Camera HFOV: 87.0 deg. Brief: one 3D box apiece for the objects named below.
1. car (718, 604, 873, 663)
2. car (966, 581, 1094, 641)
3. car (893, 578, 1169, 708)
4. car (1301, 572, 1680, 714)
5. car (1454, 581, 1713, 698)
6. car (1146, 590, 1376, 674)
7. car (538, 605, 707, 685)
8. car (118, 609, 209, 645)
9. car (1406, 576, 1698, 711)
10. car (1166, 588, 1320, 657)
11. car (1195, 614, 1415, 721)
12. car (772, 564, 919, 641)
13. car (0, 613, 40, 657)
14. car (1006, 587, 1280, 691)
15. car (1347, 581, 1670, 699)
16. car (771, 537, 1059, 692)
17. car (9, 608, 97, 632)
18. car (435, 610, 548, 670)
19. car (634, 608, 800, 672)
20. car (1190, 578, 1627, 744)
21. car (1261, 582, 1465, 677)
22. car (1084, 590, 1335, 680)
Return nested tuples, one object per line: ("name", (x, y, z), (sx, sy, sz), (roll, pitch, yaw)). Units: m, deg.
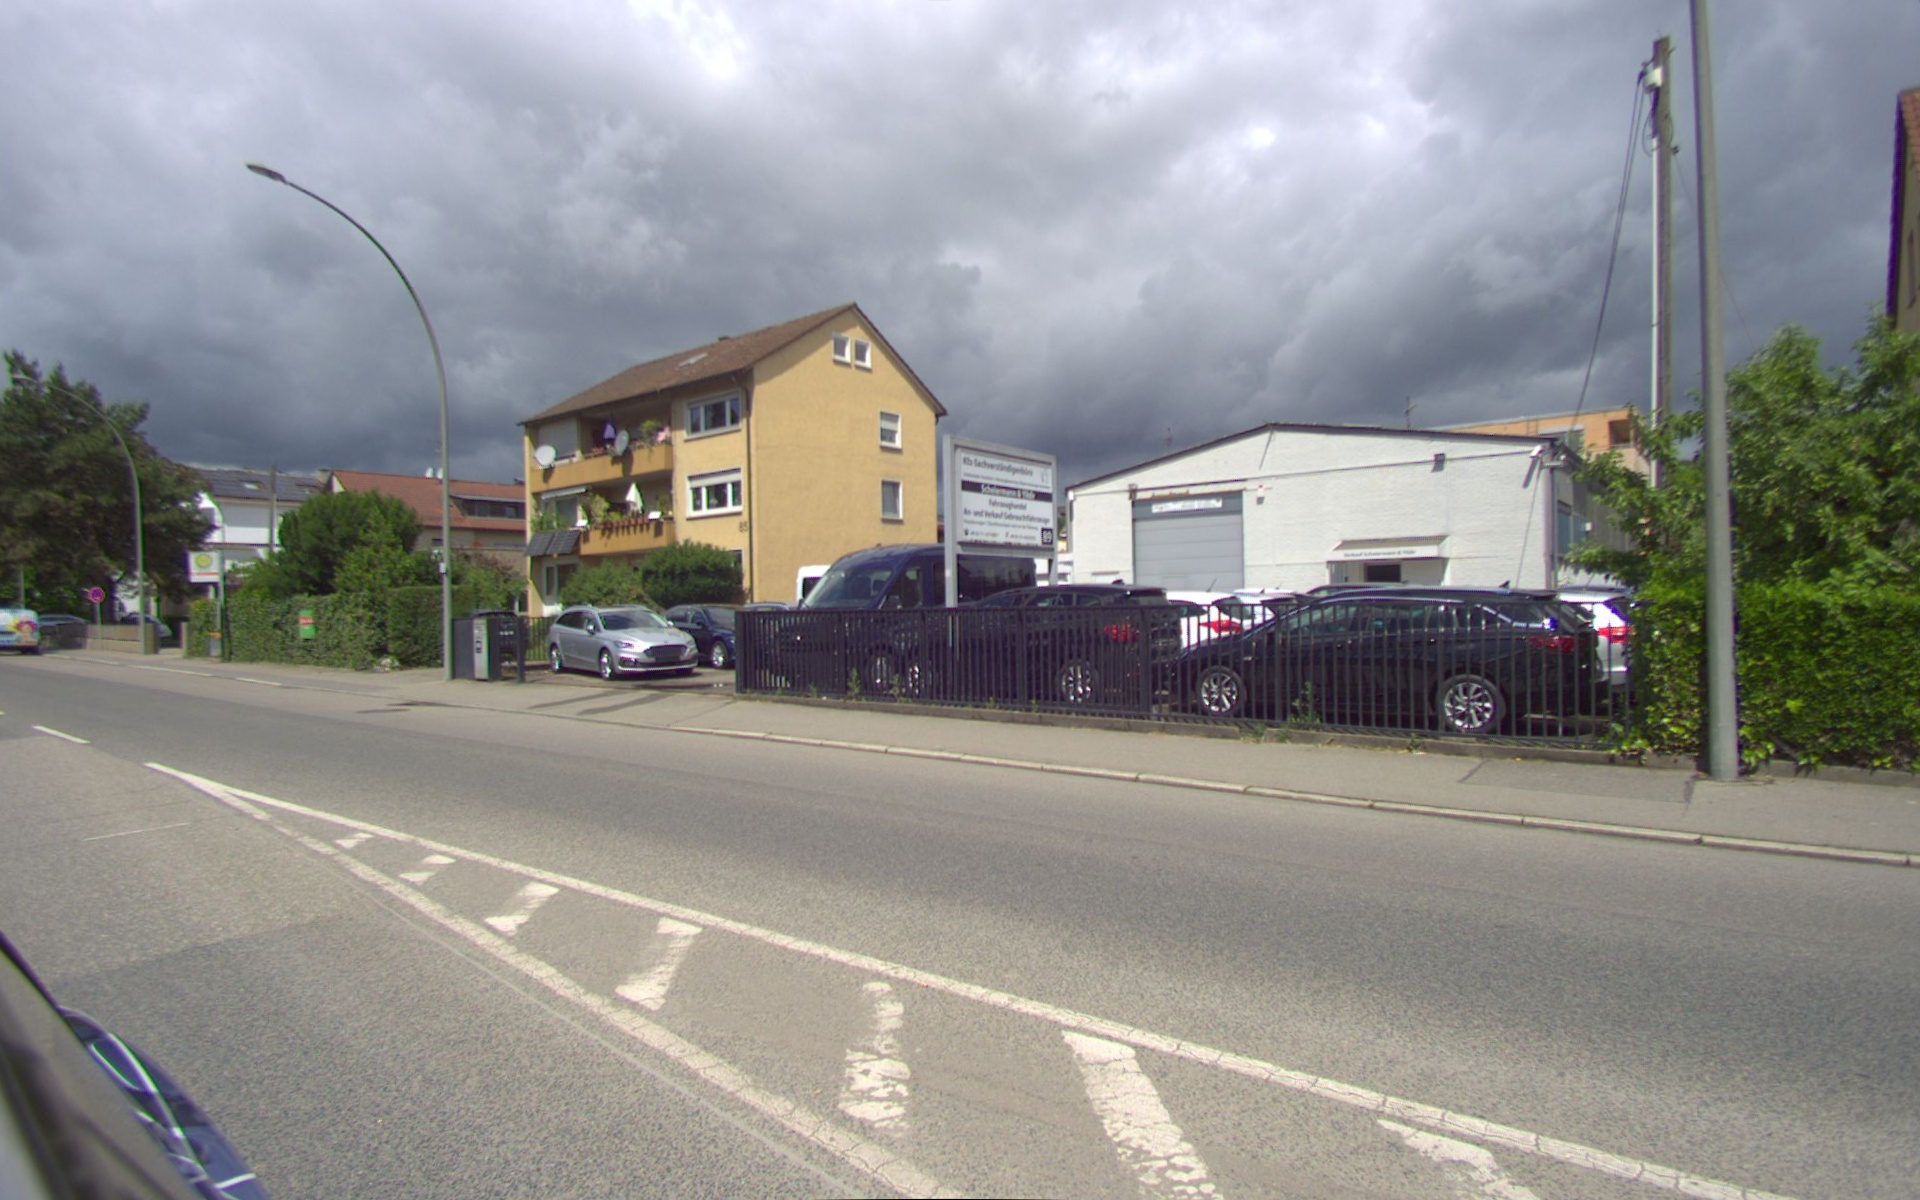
("car", (-4.324, 0.821, 26.291), (3.998, 1.383, 1.859), (-1, 0, 41))
("car", (2.368, 0.373, 34.626), (3.998, 1.941, 1.973), (-1, 0, 41))
("car", (0.955, 0.547, 14.573), (3.619, 1.633, 1.790), (-1, 0, 41))
("car", (6.738, 0.477, 13.060), (3.998, 1.552, 1.973), (-1, 0, 41))
("car", (11.962, 0.693, 19.538), (3.998, 2.029, 1.973), (-1, 0, 41))
("car", (5.873, 0.577, 19.984), (3.998, 1.498, 1.742), (-1, 0, 41))
("car", (-7.281, 0.886, 21.573), (1.861, 1.470, 4.356), (-2, 1, -41))
("car", (-46.364, 1.561, 58.946), (3.954, 2.029, 1.995), (-1, 0, 9))
("car", (10.006, 0.661, 17.237), (3.998, 2.029, 1.973), (-1, 0, 41))
("car", (8.453, 0.649, 30.424), (3.998, 1.941, 1.973), (-1, 0, 41))
("car", (7.292, 1.324, 21.561), (3.998, 2.029, 1.973), (-1, 0, 41))
("car", (-3.298, 0.068, 28.723), (3.998, 2.029, 1.973), (-1, 0, 41))
("car", (-39.237, 1.407, 41.464), (3.995, 1.693, 1.708), (-1, 0, 39))
("car", (2.864, 0.568, 16.316), (3.998, 1.470, 1.795), (-1, 0, 41))
("car", (8.279, 0.536, 15.445), (3.998, 1.560, 1.973), (-1, 0, 41))
("car", (-0.645, 0.210, 18.357), (2.104, 2.402, 5.293), (-1, 0, 42))
("car", (-68.430, 1.512, 76.425), (2.216, 1.691, 4.676), (-1, 0, 39))
("car", (-14.081, 1.149, 30.380), (3.520, 1.678, 1.807), (-1, 0, 41))
("car", (-5.792, 0.883, 23.894), (3.998, 1.352, 1.861), (-1, 0, 41))
("car", (4.803, 0.563, 11.125), (4.040, 1.494, 1.840), (-1, 0, 40))
("car", (9.382, 0.632, 23.699), (3.998, 2.029, 1.973), (-1, 0, 41))
("car", (4.348, 0.572, 17.990), (3.998, 1.423, 1.716), (-1, 0, 41))
